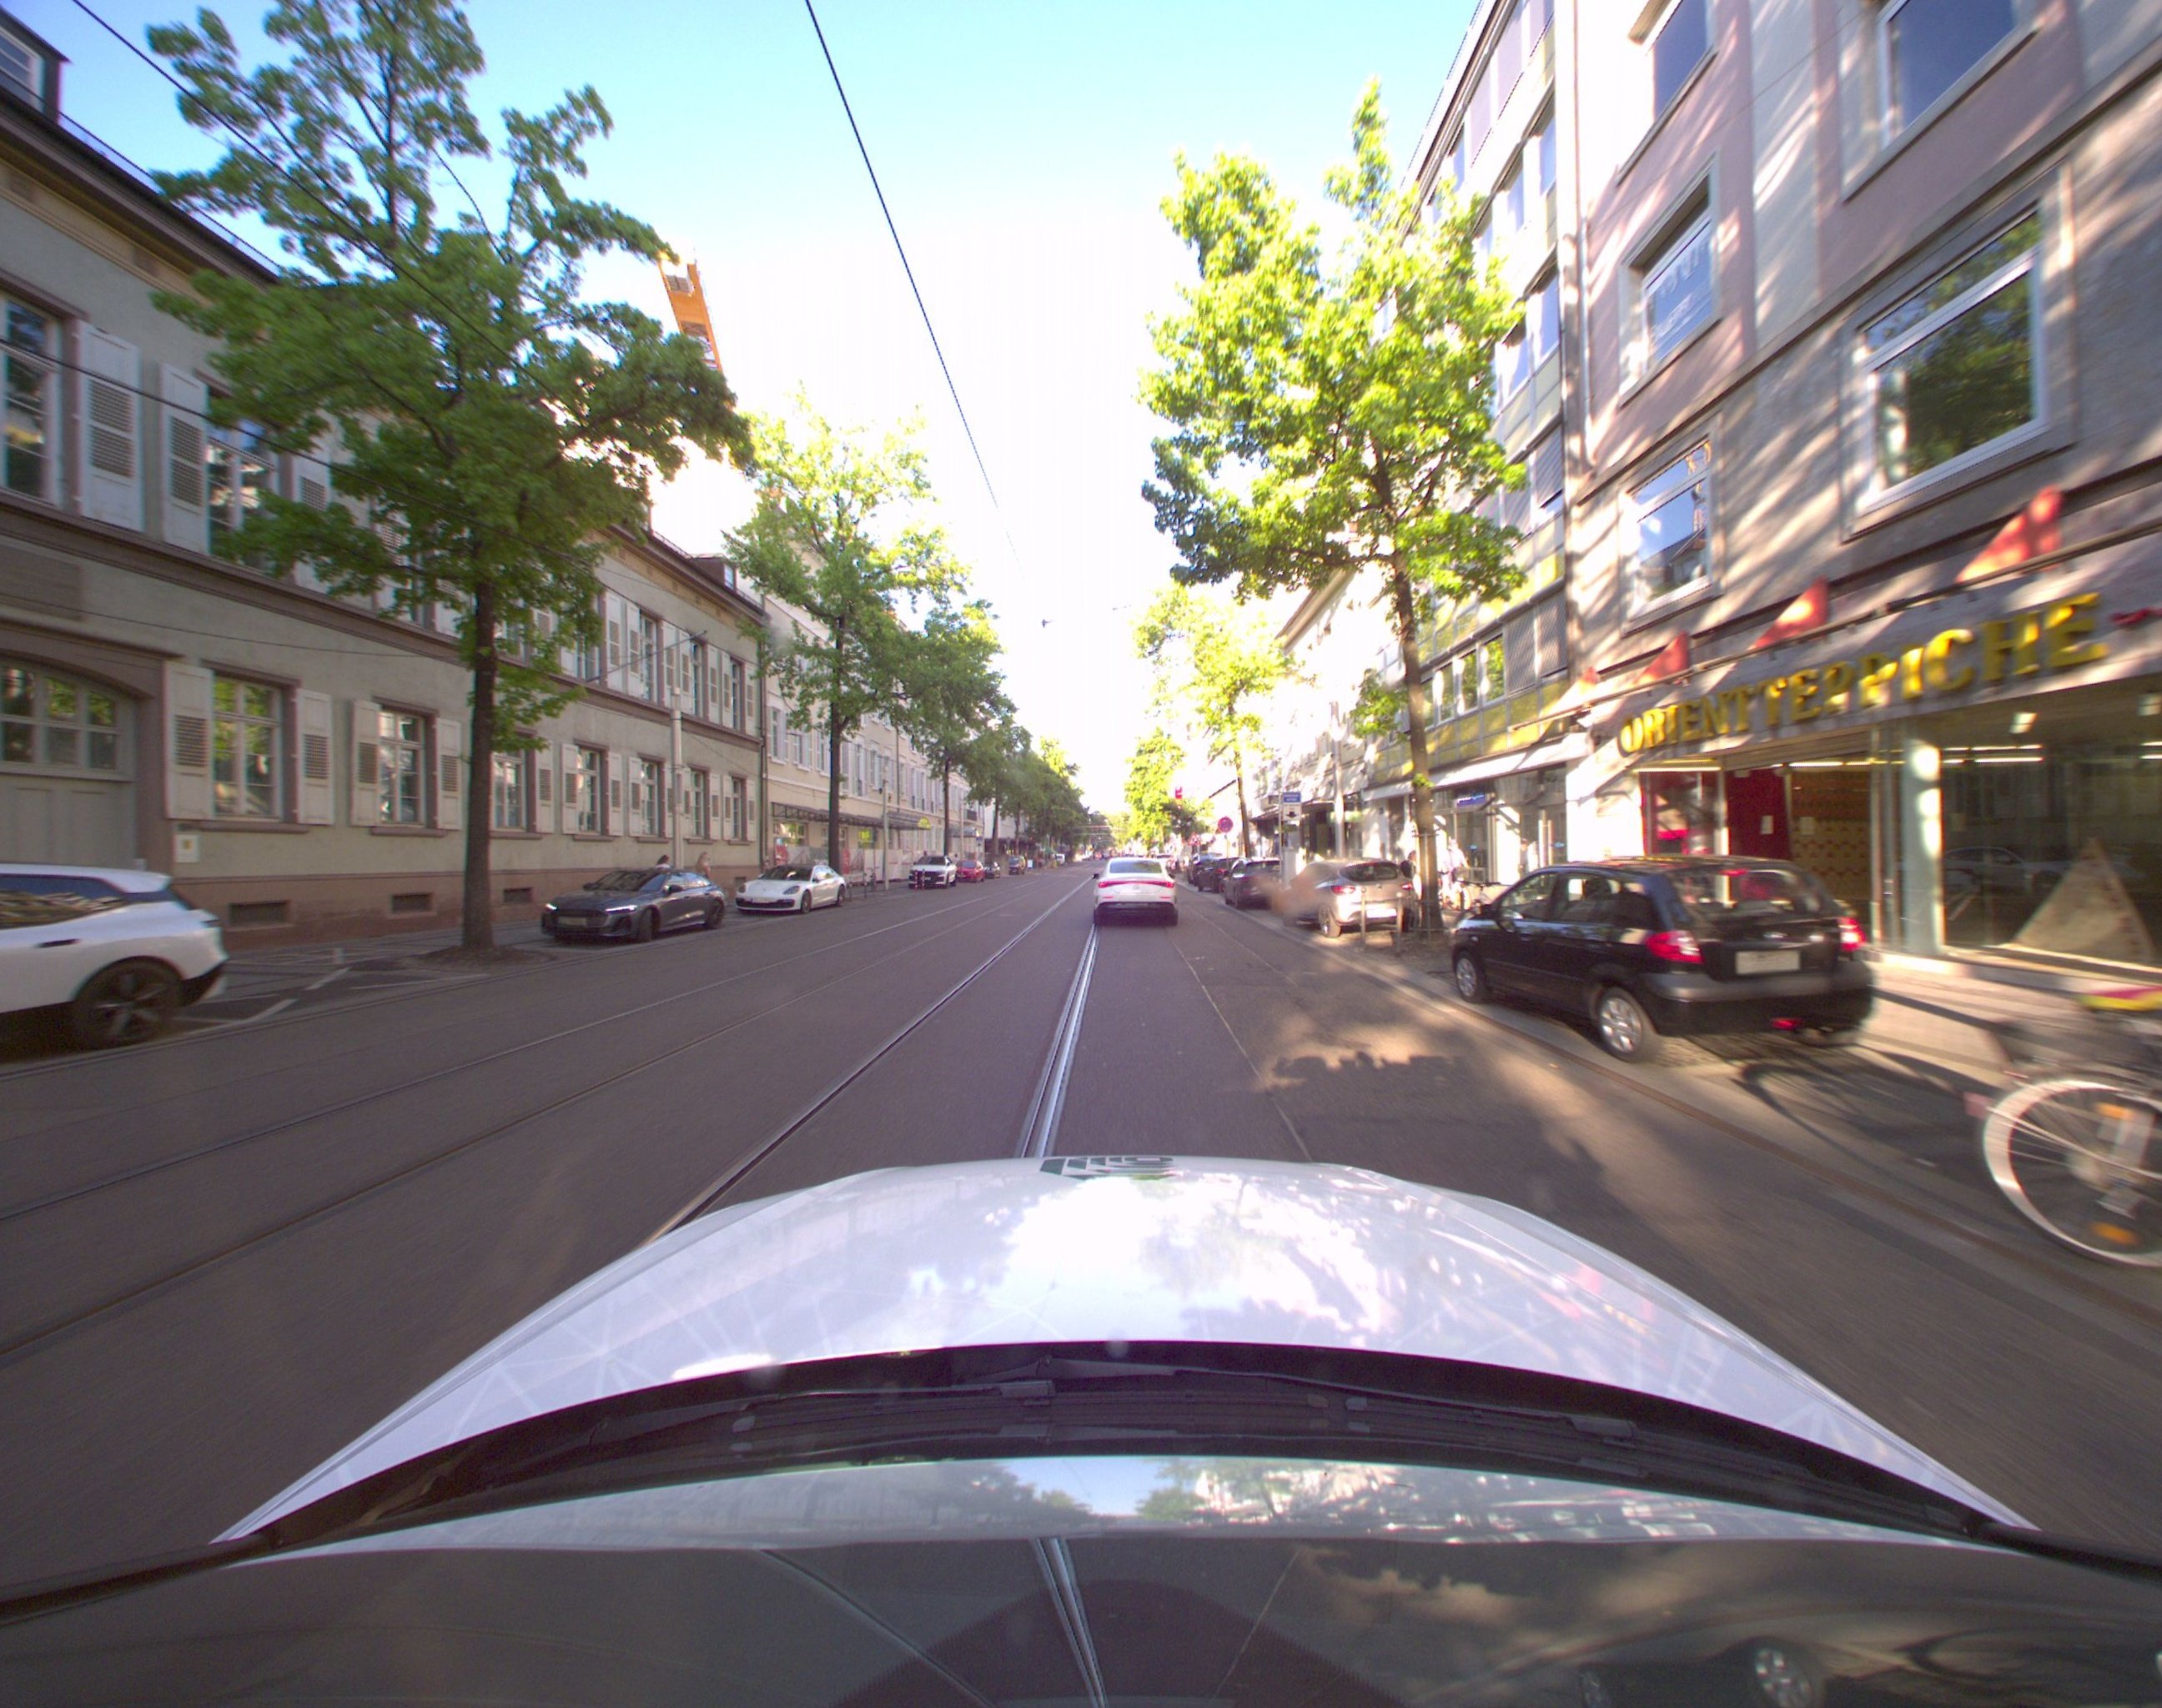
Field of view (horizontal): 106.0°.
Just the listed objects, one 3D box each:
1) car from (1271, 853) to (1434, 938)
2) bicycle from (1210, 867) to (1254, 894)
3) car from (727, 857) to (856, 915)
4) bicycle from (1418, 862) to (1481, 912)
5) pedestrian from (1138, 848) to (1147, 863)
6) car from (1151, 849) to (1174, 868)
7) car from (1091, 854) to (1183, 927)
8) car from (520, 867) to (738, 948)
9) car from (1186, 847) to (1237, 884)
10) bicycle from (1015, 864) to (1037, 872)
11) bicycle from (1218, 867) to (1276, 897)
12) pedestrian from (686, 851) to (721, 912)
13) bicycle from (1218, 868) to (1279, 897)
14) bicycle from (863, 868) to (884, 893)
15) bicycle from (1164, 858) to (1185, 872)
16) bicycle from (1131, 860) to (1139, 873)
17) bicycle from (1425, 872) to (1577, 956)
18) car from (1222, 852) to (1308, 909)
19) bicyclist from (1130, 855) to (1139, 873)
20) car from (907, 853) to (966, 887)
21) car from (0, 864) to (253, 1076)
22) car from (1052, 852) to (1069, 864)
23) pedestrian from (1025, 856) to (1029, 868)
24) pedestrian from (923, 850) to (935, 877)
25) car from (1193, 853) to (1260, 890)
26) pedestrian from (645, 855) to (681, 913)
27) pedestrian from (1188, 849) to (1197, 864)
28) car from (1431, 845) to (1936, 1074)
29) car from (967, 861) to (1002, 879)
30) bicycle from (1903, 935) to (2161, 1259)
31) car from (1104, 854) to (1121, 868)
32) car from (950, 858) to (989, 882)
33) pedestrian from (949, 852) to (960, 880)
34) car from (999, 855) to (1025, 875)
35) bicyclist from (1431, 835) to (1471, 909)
[{"bbox_3d":[5.272,0.745,16.406,1.810,1.486,3.996,-1,0,-3],"label":"car"},{"bbox_3d":[5.521,0.968,29.731,1.530,0.964,0.497,-1,0,6],"label":"bicycle"},{"bbox_3d":[-8.816,0.909,25.328,1.938,1.640,4.914,0,0,4],"label":"car"},{"bbox_3d":[8.693,0.754,19.308,0.645,1.074,1.861,-2,0,1],"label":"bicycle"},{"bbox_3d":[7.461,0.142,98.585,0.920,1.774,0.870,-1,0,-12],"label":"pedestrian"},{"bbox_3d":[7.846,0.398,78.735,1.985,1.728,4.244,-1,0,3],"label":"car"},{"bbox_3d":[1.200,0.754,18.713,1.861,1.469,4.043,0,0,1],"label":"car"},{"bbox_3d":[-9.319,1.027,17.381,1.956,1.412,4.845,-1,0,0],"label":"car"},{"bbox_3d":[6.613,0.557,41.849,1.986,1.713,4.869,-1,0,2],"label":"car"},{"bbox_3d":[-5.778,1.489,85.079,2.232,0.830,0.721,-1,0,24],"label":"bicycle"},{"bbox_3d":[5.672,0.954,27.871,1.886,0.964,0.333,-1,0,7],"label":"bicycle"},{"bbox_3d":[-10.888,0.776,23.498,0.683,1.721,0.656,0,0,2],"label":"pedestrian"},{"bbox_3d":[5.784,0.974,28.201,2.026,0.964,0.282,-1,0,7],"label":"bicycle"},{"bbox_3d":[-9.453,1.208,37.187,0.592,1.050,2.005,-1,0,-5],"label":"bicycle"},{"bbox_3d":[7.782,0.906,67.621,1.714,1.062,0.581,-1,0,5],"label":"bicycle"},{"bbox_3d":[5.011,1.152,76.026,0.737,1.188,2.162,-2,-1,3],"label":"bicycle"},{"bbox_3d":[6.021,0.834,11.717,1.854,1.074,0.710,-2,0,-8],"label":"bicycle"},{"bbox_3d":[5.346,0.721,24.173,1.862,1.453,4.111,-3,0,4],"label":"car"},{"bbox_3d":[4.992,0.921,75.981,0.721,1.702,0.812,-1,-1,3],"label":"bicyclist"},{"bbox_3d":[-7.654,0.844,43.629,1.953,1.692,5.017,-1,0,4],"label":"car"},{"bbox_3d":[-9.704,0.943,6.056,1.954,1.640,4.816,2,0,3],"label":"car"},{"bbox_3d":[-3.503,0.682,138.173,1.981,2.013,4.012,-1,0,11],"label":"car"},{"bbox_3d":[-7.151,1.055,107.923,0.515,1.653,0.650,-1,0,2],"label":"pedestrian"},{"bbox_3d":[-10.236,0.625,54.824,0.705,1.806,0.675,-1,0,-1],"label":"pedestrian"},{"bbox_3d":[6.041,0.708,34.287,1.833,1.436,3.994,-1,0,-4],"label":"car"},{"bbox_3d":[-12.212,0.863,23.807,0.672,1.680,0.648,-1,0,2],"label":"pedestrian"},{"bbox_3d":[12.816,0.270,93.527,0.799,1.774,0.680,-1,0,-10],"label":"pedestrian"},{"bbox_3d":[4.859,0.725,7.332,1.794,1.458,3.654,-3,0,0],"label":"car"},{"bbox_3d":[-7.279,1.206,61.946,1.986,1.292,4.002,-1,0,2],"label":"car"},{"bbox_3d":[4.453,0.906,3.119,1.711,1.138,0.549,-3,-1,23],"label":"bicycle"},{"bbox_3d":[7.697,1.647,198.381,4.023,3.114,8.435,-2,-1,2],"label":"car"},{"bbox_3d":[-7.289,1.022,53.621,1.681,1.499,4.238,-1,0,4],"label":"car"},{"bbox_3d":[-9.306,0.892,59.963,0.705,2.004,0.675,-1,0,-1],"label":"pedestrian"},{"bbox_3d":[-6.318,0.979,75.304,1.543,1.796,3.177,-1,0,11],"label":"car"},{"bbox_3d":[8.668,0.422,19.094,0.636,1.684,0.600,-2,0,0],"label":"bicyclist"}]
